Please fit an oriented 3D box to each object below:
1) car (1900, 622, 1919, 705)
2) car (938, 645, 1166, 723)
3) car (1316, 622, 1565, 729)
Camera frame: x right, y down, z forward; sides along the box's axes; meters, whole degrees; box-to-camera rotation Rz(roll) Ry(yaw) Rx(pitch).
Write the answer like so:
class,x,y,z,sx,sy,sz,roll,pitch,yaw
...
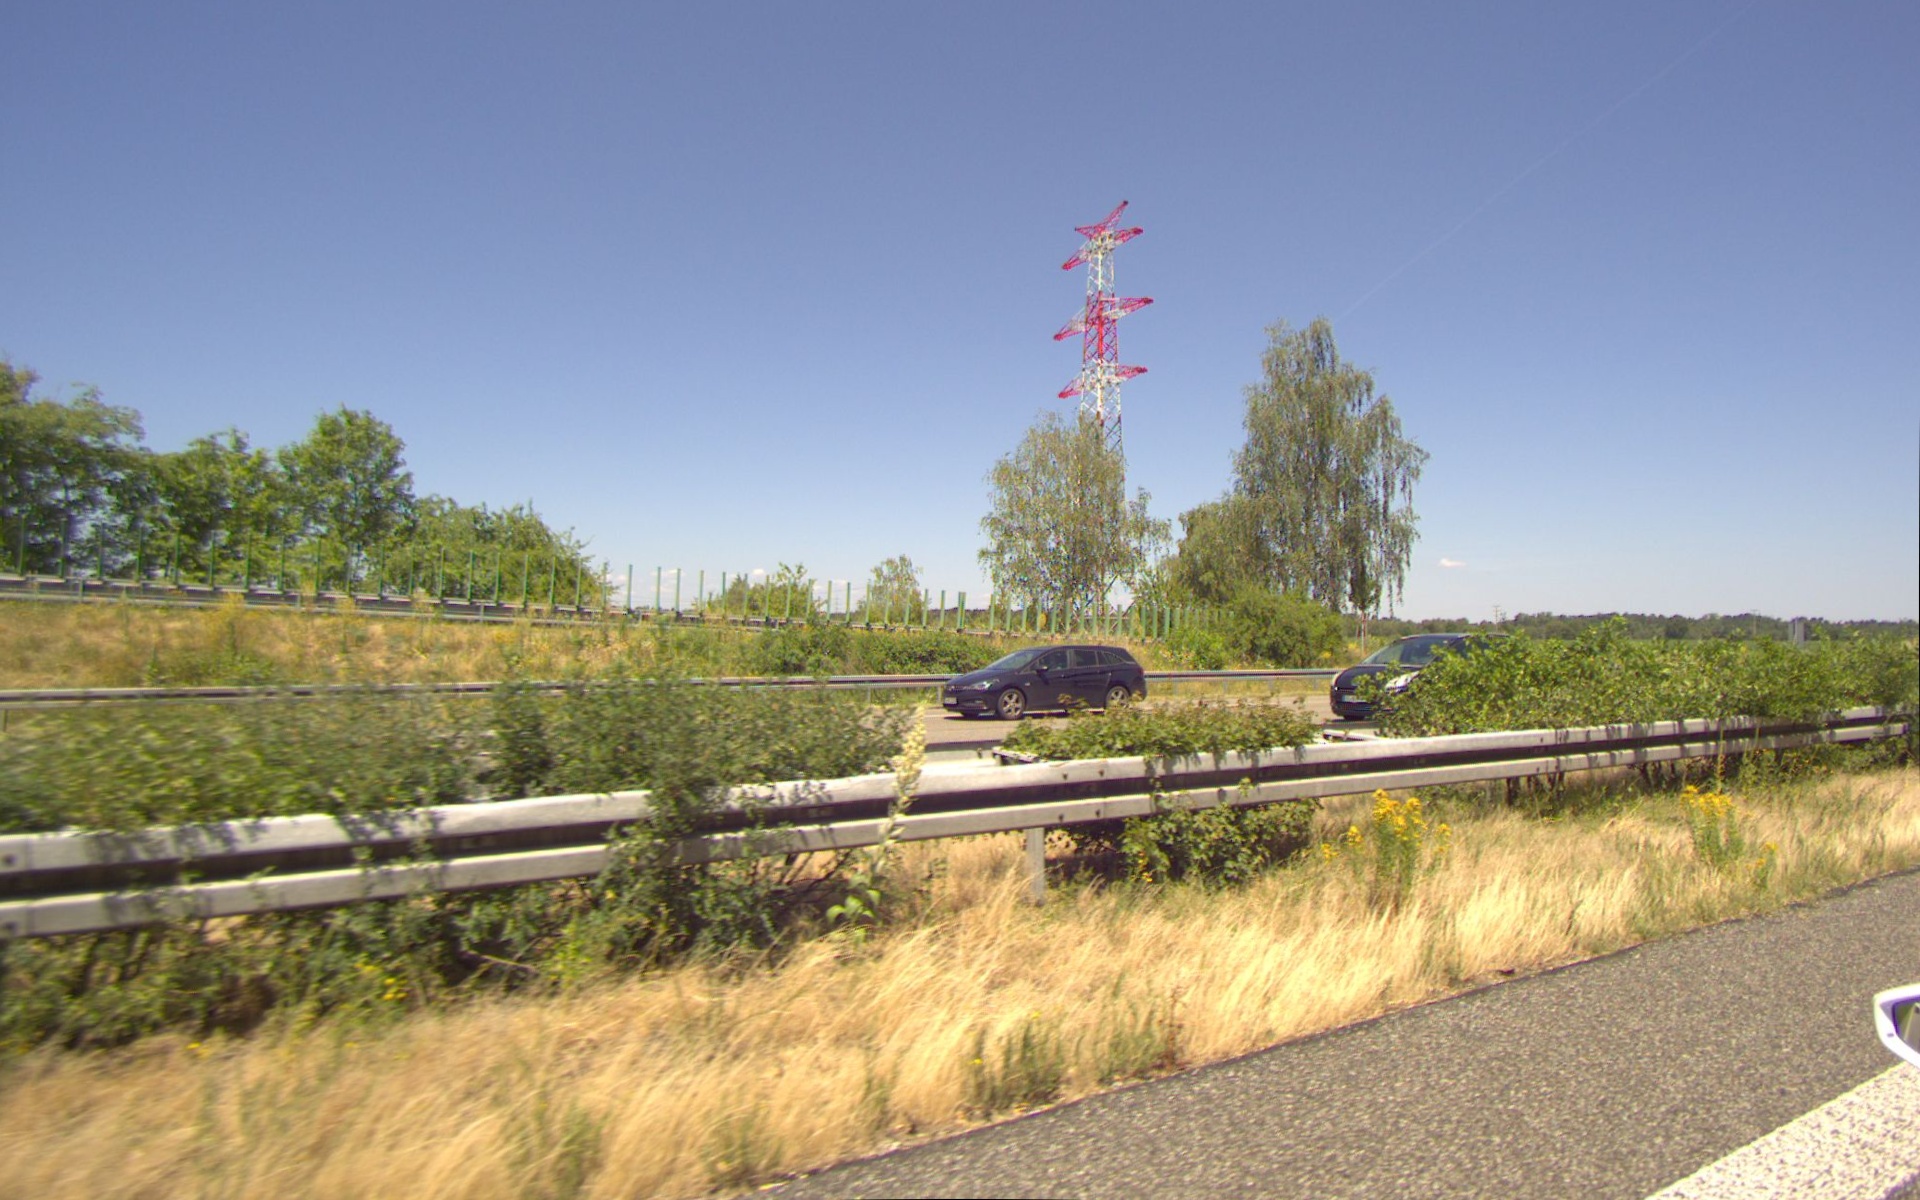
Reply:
class,x,y,z,sx,sy,sz,roll,pitch,yaw
car,24.783,1.536,24.305,4.716,1.950,1.754,2,-2,-31
car,1.976,1.674,20.907,4.742,1.468,1.534,2,-3,-30
car,9.092,1.350,18.880,4.958,1.788,1.780,2,-2,-30
